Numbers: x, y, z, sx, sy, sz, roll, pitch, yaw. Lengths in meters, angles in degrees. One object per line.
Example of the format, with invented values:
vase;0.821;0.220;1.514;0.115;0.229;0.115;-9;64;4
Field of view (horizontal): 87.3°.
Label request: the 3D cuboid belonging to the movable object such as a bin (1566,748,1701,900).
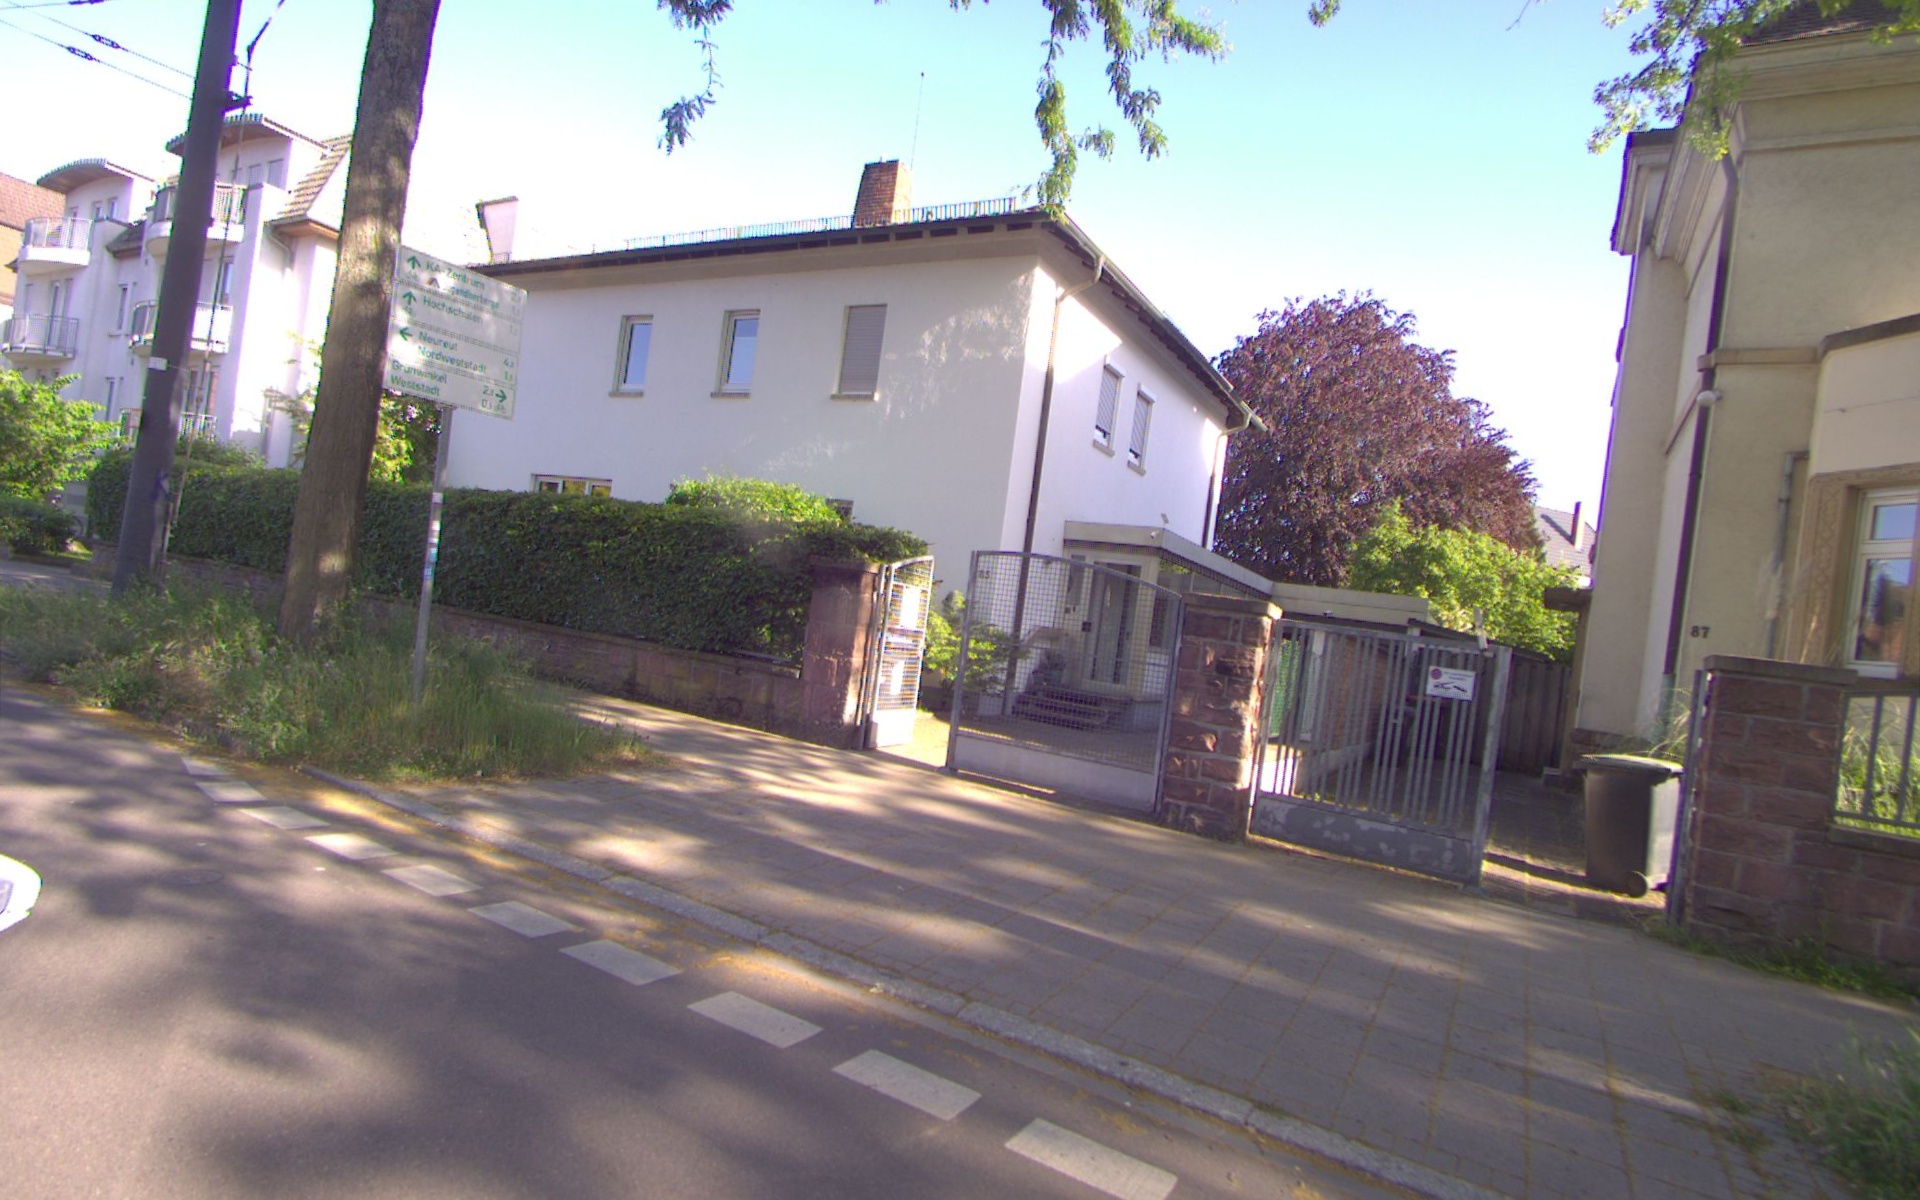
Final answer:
movable object such as a bin;5.479;1.804;8.192;0.652;1.060;0.641;8;-1;-37
